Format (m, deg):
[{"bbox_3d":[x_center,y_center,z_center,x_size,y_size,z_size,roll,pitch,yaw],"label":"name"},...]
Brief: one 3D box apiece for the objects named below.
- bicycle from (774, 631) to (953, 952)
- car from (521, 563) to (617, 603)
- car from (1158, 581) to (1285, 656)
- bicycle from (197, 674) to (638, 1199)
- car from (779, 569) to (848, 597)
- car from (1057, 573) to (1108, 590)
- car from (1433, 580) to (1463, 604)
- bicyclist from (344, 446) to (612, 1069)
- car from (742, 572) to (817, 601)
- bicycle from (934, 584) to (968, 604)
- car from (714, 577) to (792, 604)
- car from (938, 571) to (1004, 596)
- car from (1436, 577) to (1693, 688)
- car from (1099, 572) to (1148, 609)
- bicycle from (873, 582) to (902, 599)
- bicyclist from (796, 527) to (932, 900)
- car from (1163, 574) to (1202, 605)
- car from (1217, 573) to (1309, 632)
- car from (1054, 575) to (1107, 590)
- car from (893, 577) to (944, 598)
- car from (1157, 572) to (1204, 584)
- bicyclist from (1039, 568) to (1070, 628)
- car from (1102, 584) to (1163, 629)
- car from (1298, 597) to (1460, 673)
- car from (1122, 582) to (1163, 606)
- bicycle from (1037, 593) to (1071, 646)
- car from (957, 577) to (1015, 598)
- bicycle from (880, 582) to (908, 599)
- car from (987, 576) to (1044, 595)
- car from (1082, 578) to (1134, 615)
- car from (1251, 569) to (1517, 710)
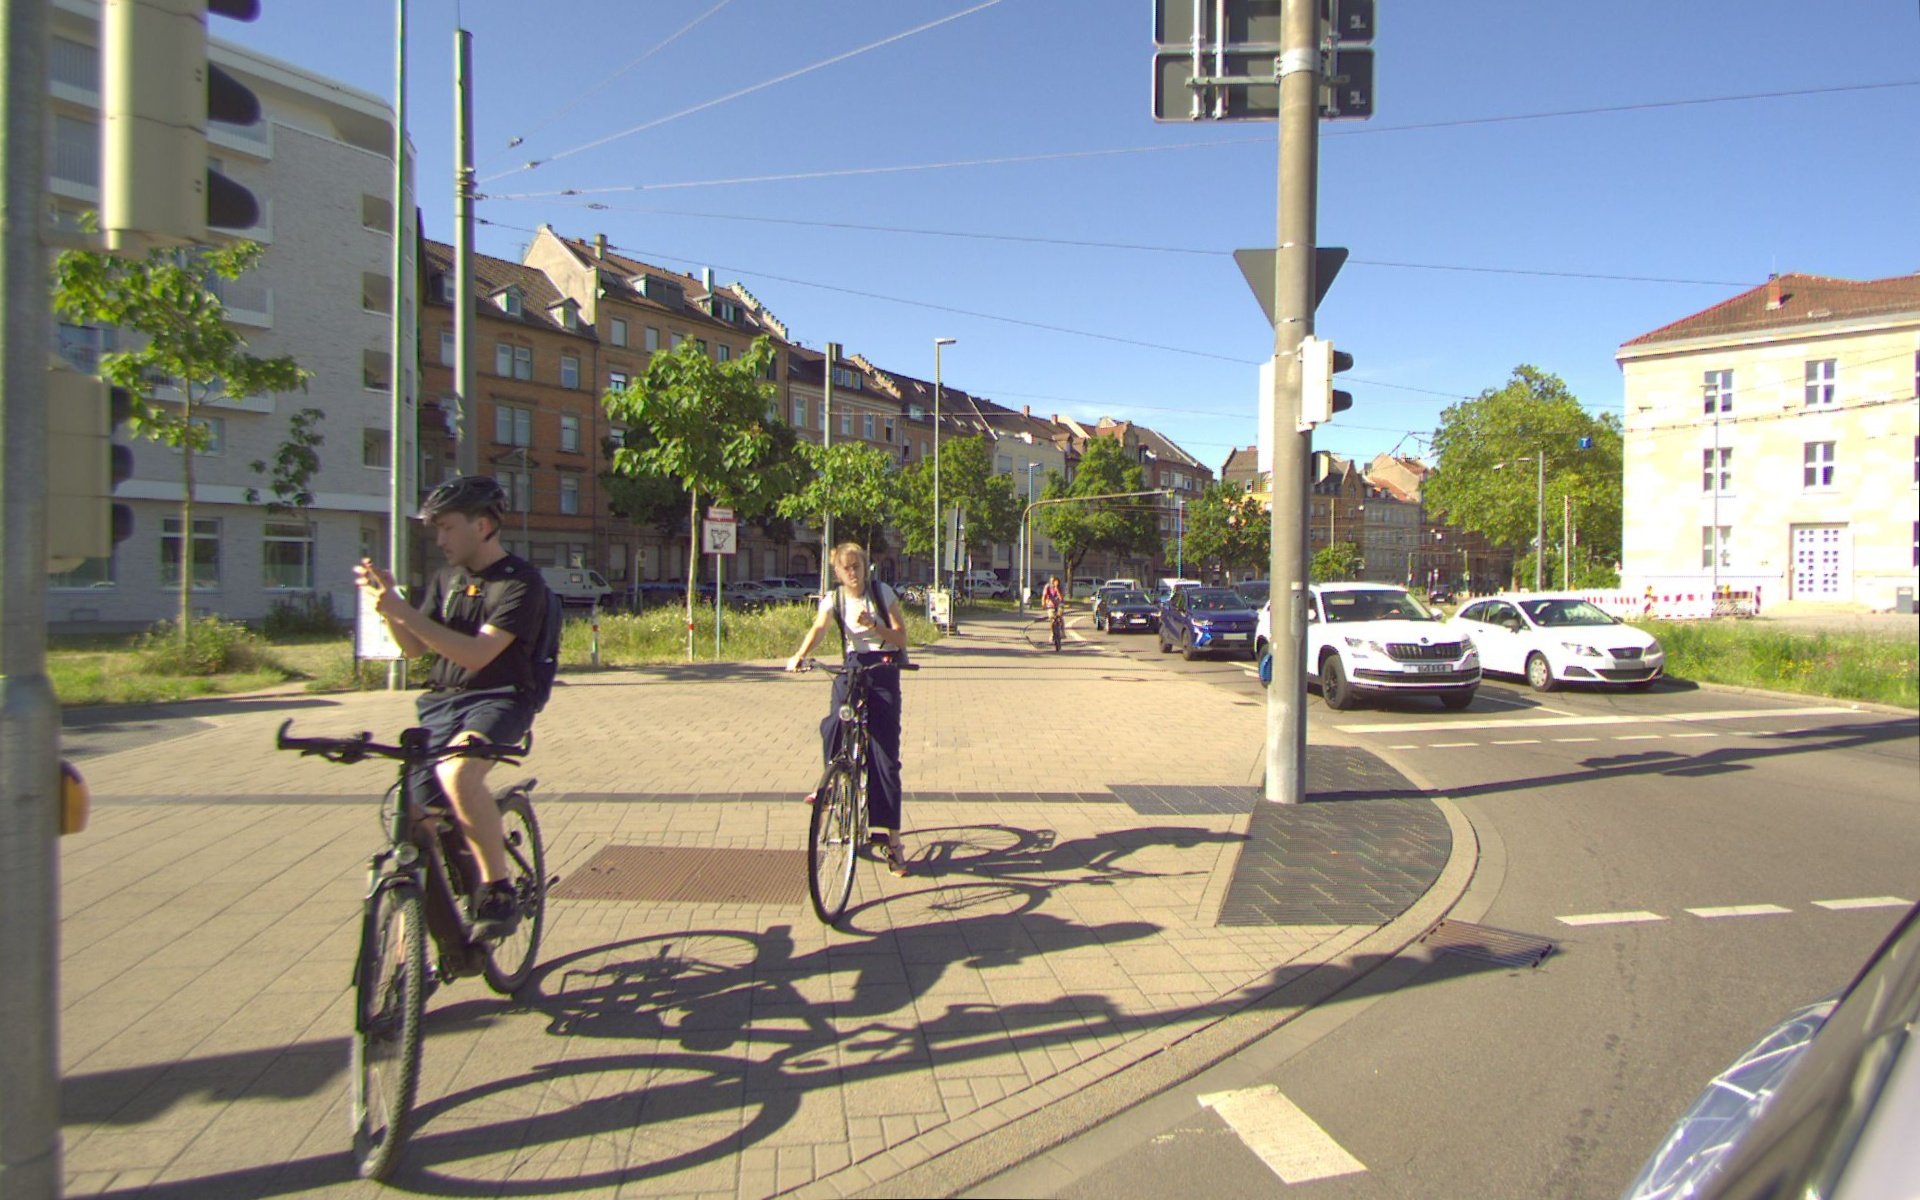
[{"bbox_3d":[-0.446,0.783,4.968,0.683,1.118,2.014,1,2,-4],"label":"bicycle"},{"bbox_3d":[-21.586,-0.932,56.018,1.990,2.139,4.578,0,1,38],"label":"car"},{"bbox_3d":[5.908,0.353,23.328,1.839,1.575,4.001,0,1,-1],"label":"car"},{"bbox_3d":[-1.565,0.874,3.312,0.594,1.050,1.899,1,2,-6],"label":"bicycle"},{"bbox_3d":[-9.047,-1.076,62.677,3.926,1.683,1.999,0,1,2],"label":"car"},{"bbox_3d":[10.713,-1.627,88.462,4.332,1.479,1.993,0,1,12],"label":"car"},{"bbox_3d":[36.384,-0.620,75.422,1.755,1.772,3.958,0,1,30],"label":"car"},{"bbox_3d":[-1.569,0.452,3.421,0.539,1.820,0.907,1,2,-6],"label":"bicyclist"},{"bbox_3d":[-10.398,-0.786,58.520,3.926,1.683,1.999,0,1,2],"label":"car"},{"bbox_3d":[-0.467,-0.327,53.941,1.726,1.037,0.570,-1,1,-27],"label":"bicycle"},{"bbox_3d":[-11.463,-0.529,56.262,3.926,1.482,1.999,0,1,2],"label":"car"},{"bbox_3d":[0.783,-1.214,73.390,4.705,1.793,1.731,0,1,2],"label":"car"},{"bbox_3d":[9.293,0.420,15.965,1.638,1.448,3.837,-3,1,-1],"label":"car"},{"bbox_3d":[9.496,-0.576,58.460,1.853,2.006,4.621,0,1,22],"label":"car"},{"bbox_3d":[-4.447,-0.579,61.945,1.743,1.037,0.448,0,1,25],"label":"bicycle"},{"bbox_3d":[-0.468,0.499,5.046,0.584,1.674,1.004,1,1,-4],"label":"bicyclist"},{"bbox_3d":[11.946,-0.570,54.177,1.848,1.575,3.981,0,1,15],"label":"car"},{"bbox_3d":[9.418,0.031,31.786,1.737,1.705,4.325,-1,1,3],"label":"car"},{"bbox_3d":[10.213,-1.457,85.643,4.332,1.249,1.993,0,1,12],"label":"car"},{"bbox_3d":[-2.785,-0.853,68.471,3.401,1.349,1.731,0,1,2],"label":"car"},{"bbox_3d":[22.230,-2.191,102.081,4.319,1.225,1.999,0,1,2],"label":"car"},{"bbox_3d":[2.282,-0.054,24.525,0.684,1.394,0.738,2,2,3],"label":"bicyclist"},{"bbox_3d":[5.870,0.173,34.690,1.557,1.451,3.836,0,1,2],"label":"car"},{"bbox_3d":[9.345,0.713,23.011,1.807,1.448,4.484,-1,1,0],"label":"car"},{"bbox_3d":[11.574,-0.396,63.993,1.853,1.465,3.880,0,1,22],"label":"car"},{"bbox_3d":[2.254,0.446,24.346,0.684,1.118,2.011,2,3,3],"label":"bicycle"},{"bbox_3d":[1.946,-0.934,76.214,4.318,1.525,2.000,0,1,1],"label":"car"},{"bbox_3d":[-4.101,-0.585,62.745,1.743,1.037,0.448,0,1,25],"label":"bicycle"},{"bbox_3d":[4.291,-1.133,78.614,4.318,1.479,2.000,0,1,1],"label":"car"},{"bbox_3d":[6.604,-0.180,45.602,1.840,1.575,3.999,0,1,1],"label":"car"},{"bbox_3d":[5.711,0.434,14.302,1.839,1.650,4.339,-1,1,-1],"label":"car"}]
